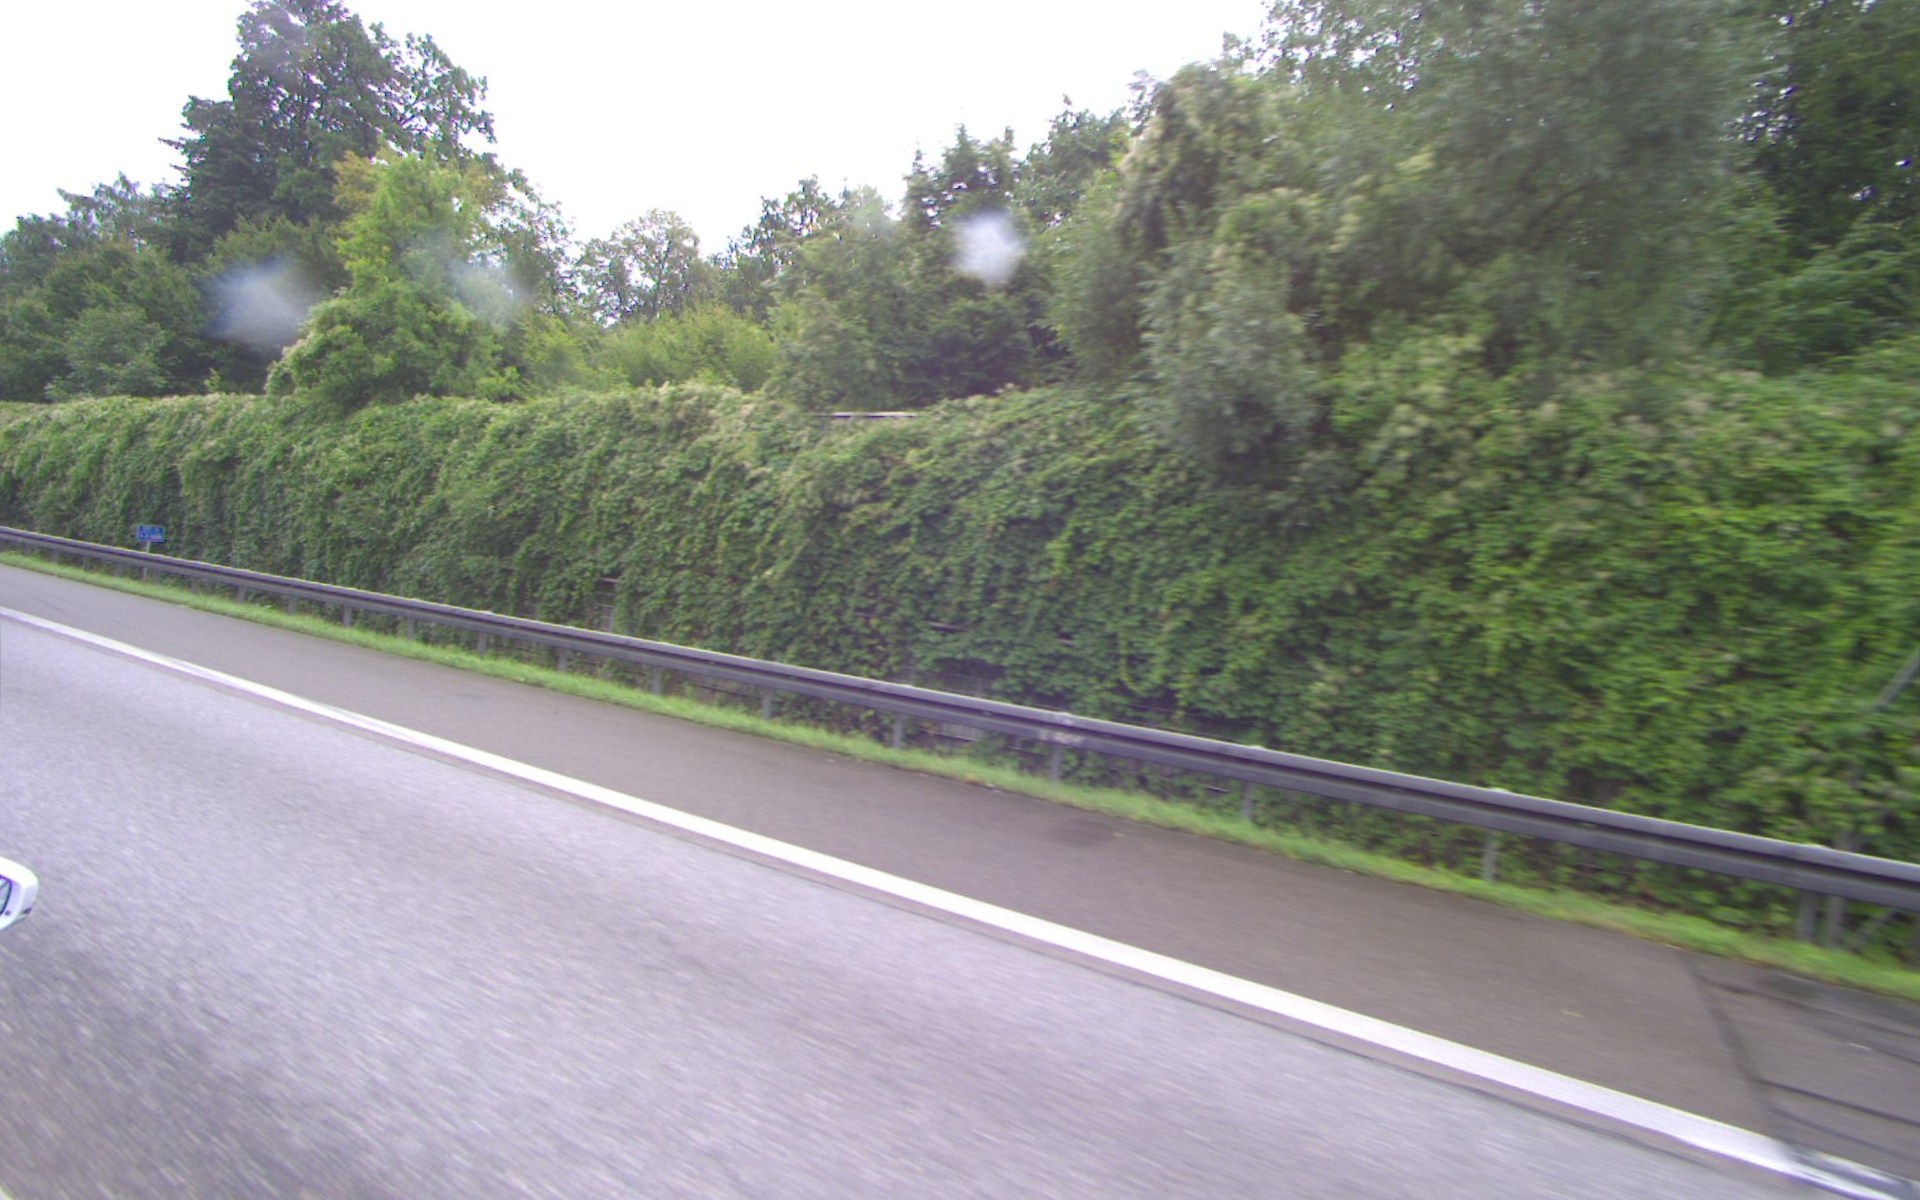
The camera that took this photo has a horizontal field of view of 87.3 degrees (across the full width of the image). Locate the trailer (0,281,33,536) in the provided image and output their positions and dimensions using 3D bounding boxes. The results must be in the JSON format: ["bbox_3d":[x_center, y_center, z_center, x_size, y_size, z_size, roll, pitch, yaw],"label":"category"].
[{"bbox_3d":[-17.475,-2.462,14.285,12.913,3.985,2.673,6,-1,32],"label":"trailer"}]
